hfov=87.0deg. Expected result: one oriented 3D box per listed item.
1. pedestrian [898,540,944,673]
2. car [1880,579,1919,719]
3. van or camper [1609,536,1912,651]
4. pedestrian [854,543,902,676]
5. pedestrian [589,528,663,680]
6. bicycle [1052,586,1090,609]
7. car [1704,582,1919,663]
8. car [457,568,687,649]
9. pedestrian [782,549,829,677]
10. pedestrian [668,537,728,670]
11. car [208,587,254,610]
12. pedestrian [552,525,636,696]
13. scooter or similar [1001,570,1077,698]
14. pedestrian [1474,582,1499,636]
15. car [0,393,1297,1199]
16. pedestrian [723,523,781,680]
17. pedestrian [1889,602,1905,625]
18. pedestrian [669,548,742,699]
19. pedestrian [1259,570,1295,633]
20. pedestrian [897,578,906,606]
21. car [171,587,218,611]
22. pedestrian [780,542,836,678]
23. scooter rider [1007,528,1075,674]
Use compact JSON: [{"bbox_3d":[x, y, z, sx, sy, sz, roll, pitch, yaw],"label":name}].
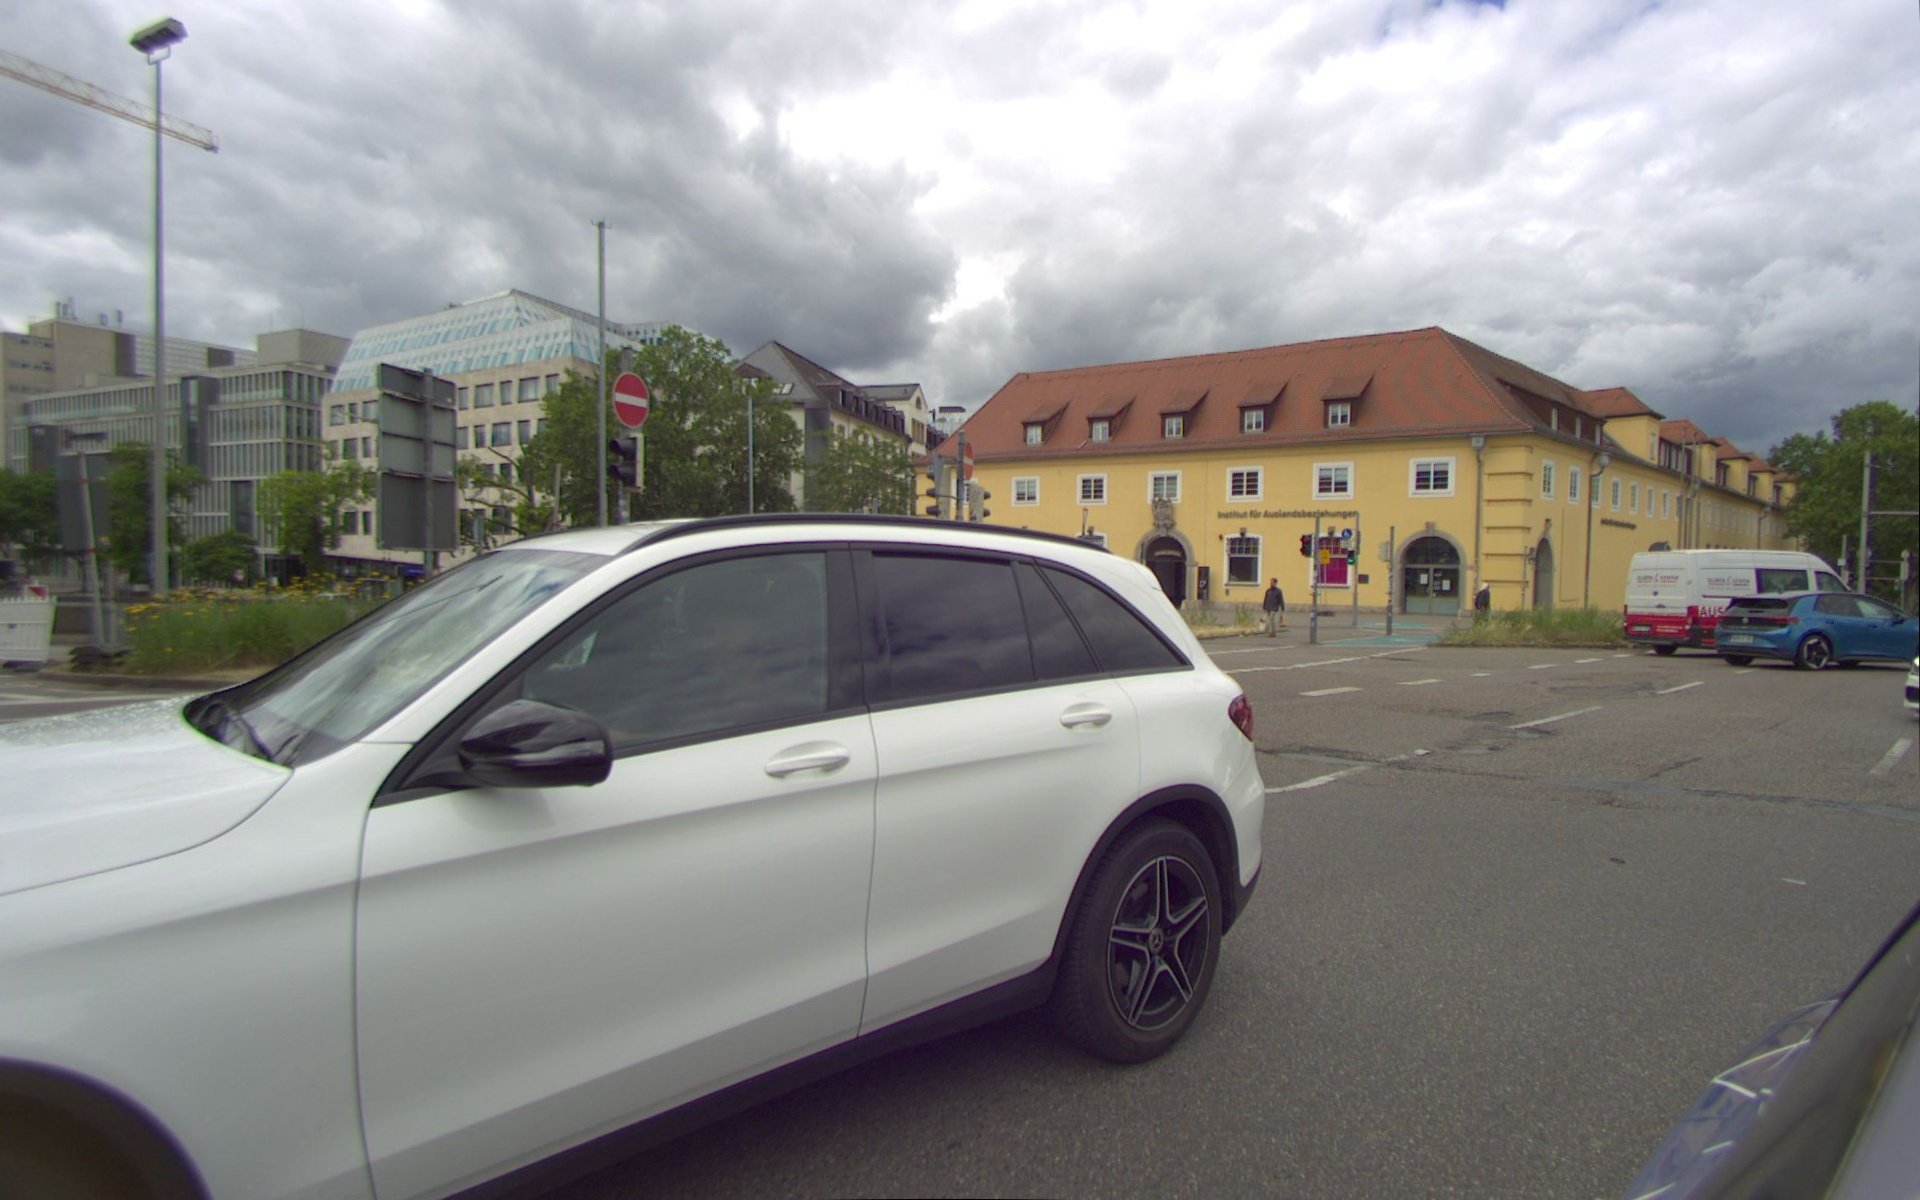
[{"bbox_3d":[-0.588,0.085,15.426,0.600,1.979,0.642,1,1,5],"label":"pedestrian"},{"bbox_3d":[13.257,0.598,11.769,4.554,1.589,1.876,1,1,-20],"label":"car"},{"bbox_3d":[19.087,-0.137,24.229,6.034,2.508,2.151,1,0,-9],"label":"van or camper"},{"bbox_3d":[-1.152,0.124,14.315,0.599,1.819,0.643,1,1,2],"label":"pedestrian"},{"bbox_3d":[-4.168,0.038,12.664,0.657,1.838,0.702,1,1,4],"label":"pedestrian"},{"bbox_3d":[5.408,-0.133,49.282,1.761,1.099,0.613,2,1,35],"label":"bicycle"},{"bbox_3d":[17.779,0.448,20.282,4.532,1.501,1.952,1,0,-9],"label":"car"},{"bbox_3d":[-7.709,0.129,20.302,3.932,1.484,1.835,1,1,7],"label":"car"},{"bbox_3d":[-2.377,0.188,15.590,0.599,1.934,0.643,1,1,2],"label":"pedestrian"},{"bbox_3d":[-3.471,0.034,13.446,0.599,1.717,0.643,1,1,2],"label":"pedestrian"},{"bbox_3d":[-57.178,-0.135,79.370,3.981,1.655,1.972,4,2,39],"label":"car"},{"bbox_3d":[-4.155,0.108,11.532,0.657,1.886,0.702,1,1,4],"label":"pedestrian"},{"bbox_3d":[0.997,0.366,12.372,0.764,1.424,1.883,1,1,9],"label":"scooter or similar"},{"bbox_3d":[19.118,0.310,36.770,0.629,1.918,0.556,2,1,14],"label":"pedestrian"},{"bbox_3d":[-1.057,0.524,2.737,4.259,1.666,1.805,1,2,-42],"label":"car"},{"bbox_3d":[-2.719,0.011,13.252,0.599,1.989,0.643,1,1,2],"label":"pedestrian"},{"bbox_3d":[60.648,0.866,65.499,0.680,1.397,0.570,3,2,44],"label":"pedestrian"},{"bbox_3d":[-3.108,0.267,12.411,0.657,1.784,0.763,1,1,4],"label":"pedestrian"},{"bbox_3d":[9.288,0.039,29.627,0.822,1.811,0.744,1,1,32],"label":"pedestrian"},{"bbox_3d":[-3.411,-0.479,59.332,0.482,1.610,0.555,1,1,-6],"label":"pedestrian"},{"bbox_3d":[-57.893,-0.087,76.534,3.981,1.655,1.972,4,2,39],"label":"car"},{"bbox_3d":[-1.973,0.123,13.161,0.599,1.717,0.643,1,1,2],"label":"pedestrian"},{"bbox_3d":[1.000,0.004,12.364,0.754,1.715,0.744,1,1,9],"label":"scooter rider"}]
